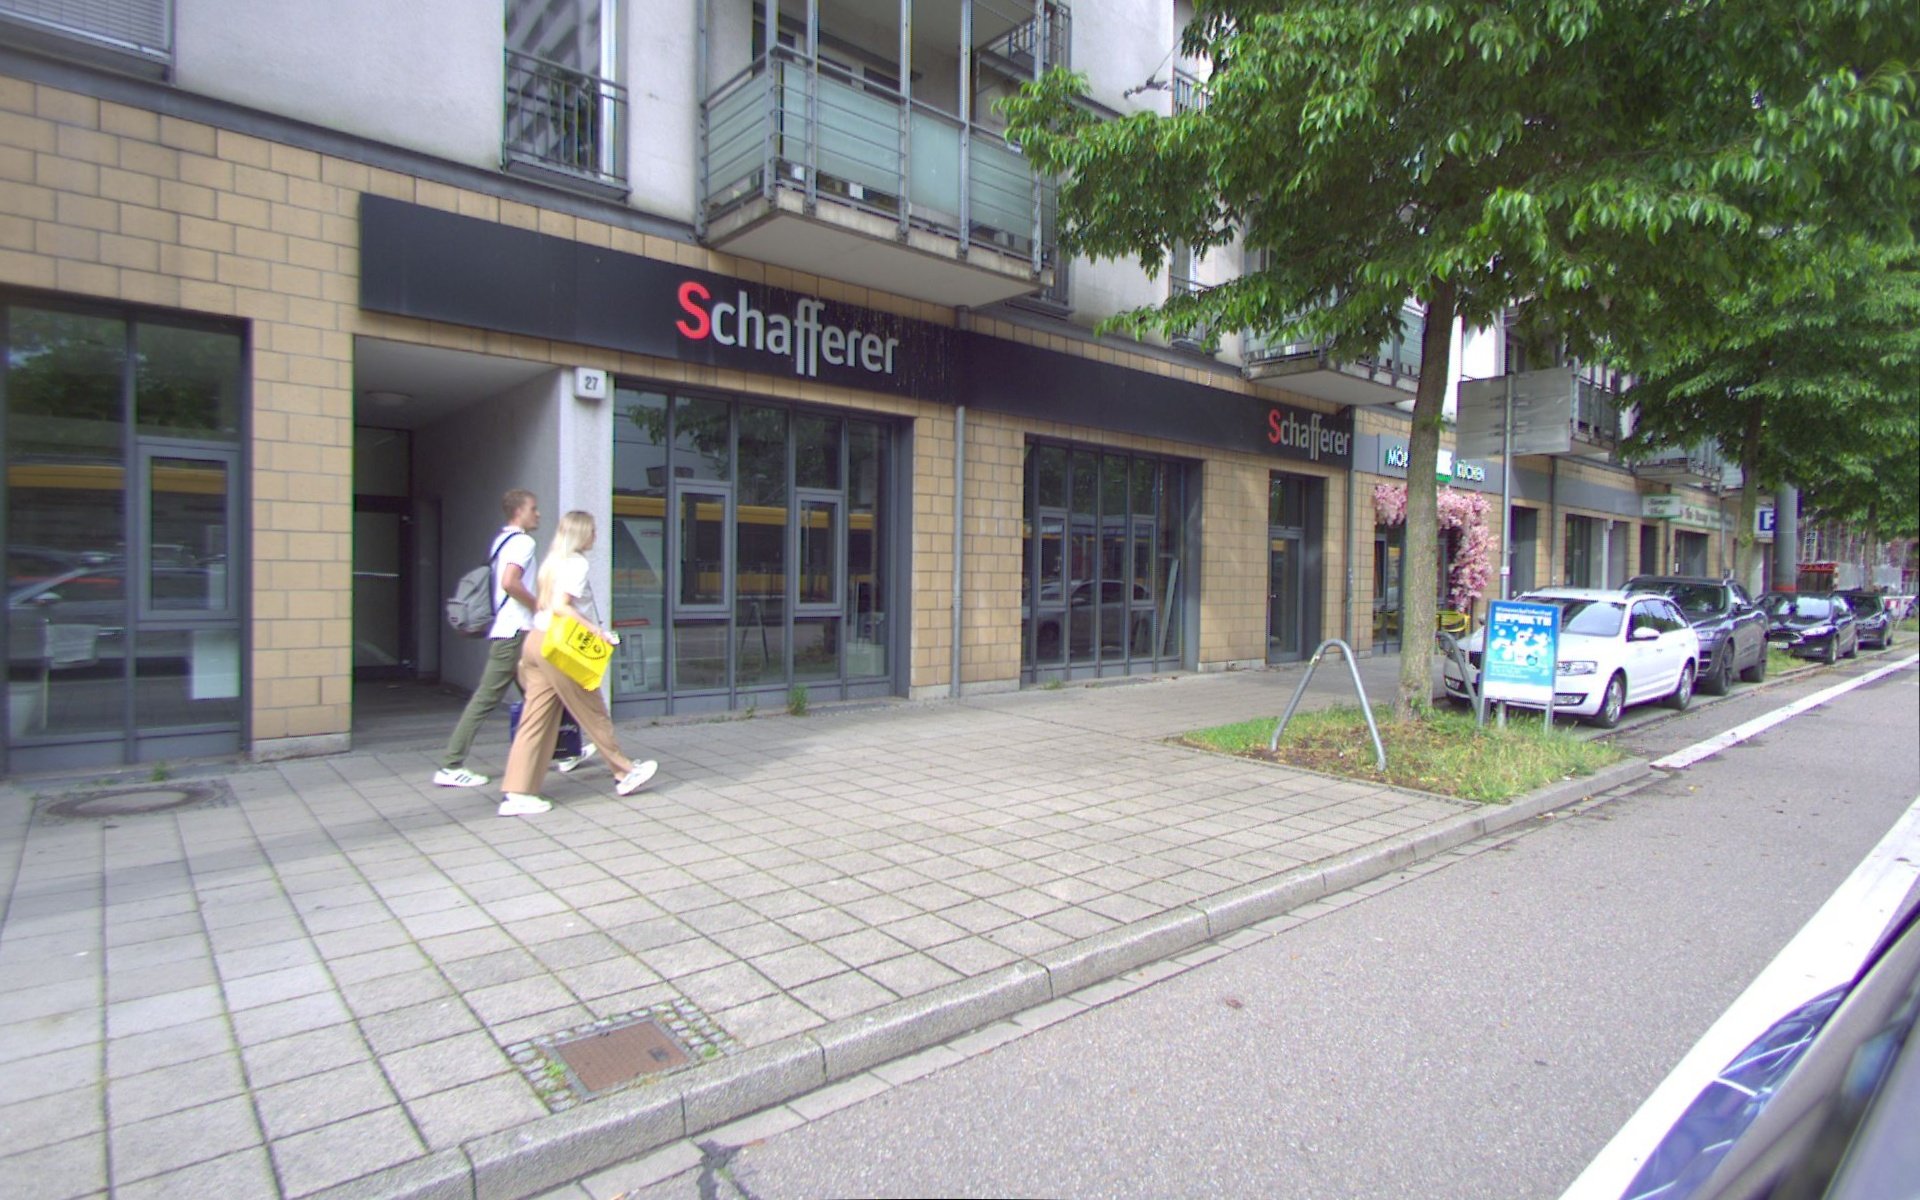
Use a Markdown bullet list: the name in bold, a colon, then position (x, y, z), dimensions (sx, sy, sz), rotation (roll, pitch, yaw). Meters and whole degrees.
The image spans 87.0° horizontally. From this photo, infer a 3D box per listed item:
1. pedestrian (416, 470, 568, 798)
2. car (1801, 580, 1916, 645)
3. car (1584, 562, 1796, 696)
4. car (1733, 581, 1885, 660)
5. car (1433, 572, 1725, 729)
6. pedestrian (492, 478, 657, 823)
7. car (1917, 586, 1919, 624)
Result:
- **pedestrian**: position (-2.957, 0.185, 6.386), dimensions (0.724, 1.914, 0.677), rotation (0, 2, -39)
- **car**: position (23.827, 0.264, 26.789), dimensions (4.315, 1.472, 1.800), rotation (-1, 5, -43)
- **car**: position (11.538, 0.336, 15.859), dimensions (4.632, 1.737, 1.715), rotation (-1, 4, -42)
- **car**: position (18.235, 0.359, 21.675), dimensions (4.329, 1.459, 1.681), rotation (-1, 4, -40)
- **car**: position (7.645, 0.475, 12.333), dimensions (4.312, 1.517, 1.681), rotation (-1, 4, -40)
- **pedestrian**: position (-2.225, 0.256, 5.835), dimensions (0.724, 1.828, 0.617), rotation (0, 2, -39)
- **car**: position (39.798, 0.218, 40.527), dimensions (4.206, 1.478, 1.754), rotation (-1, 4, -42)
